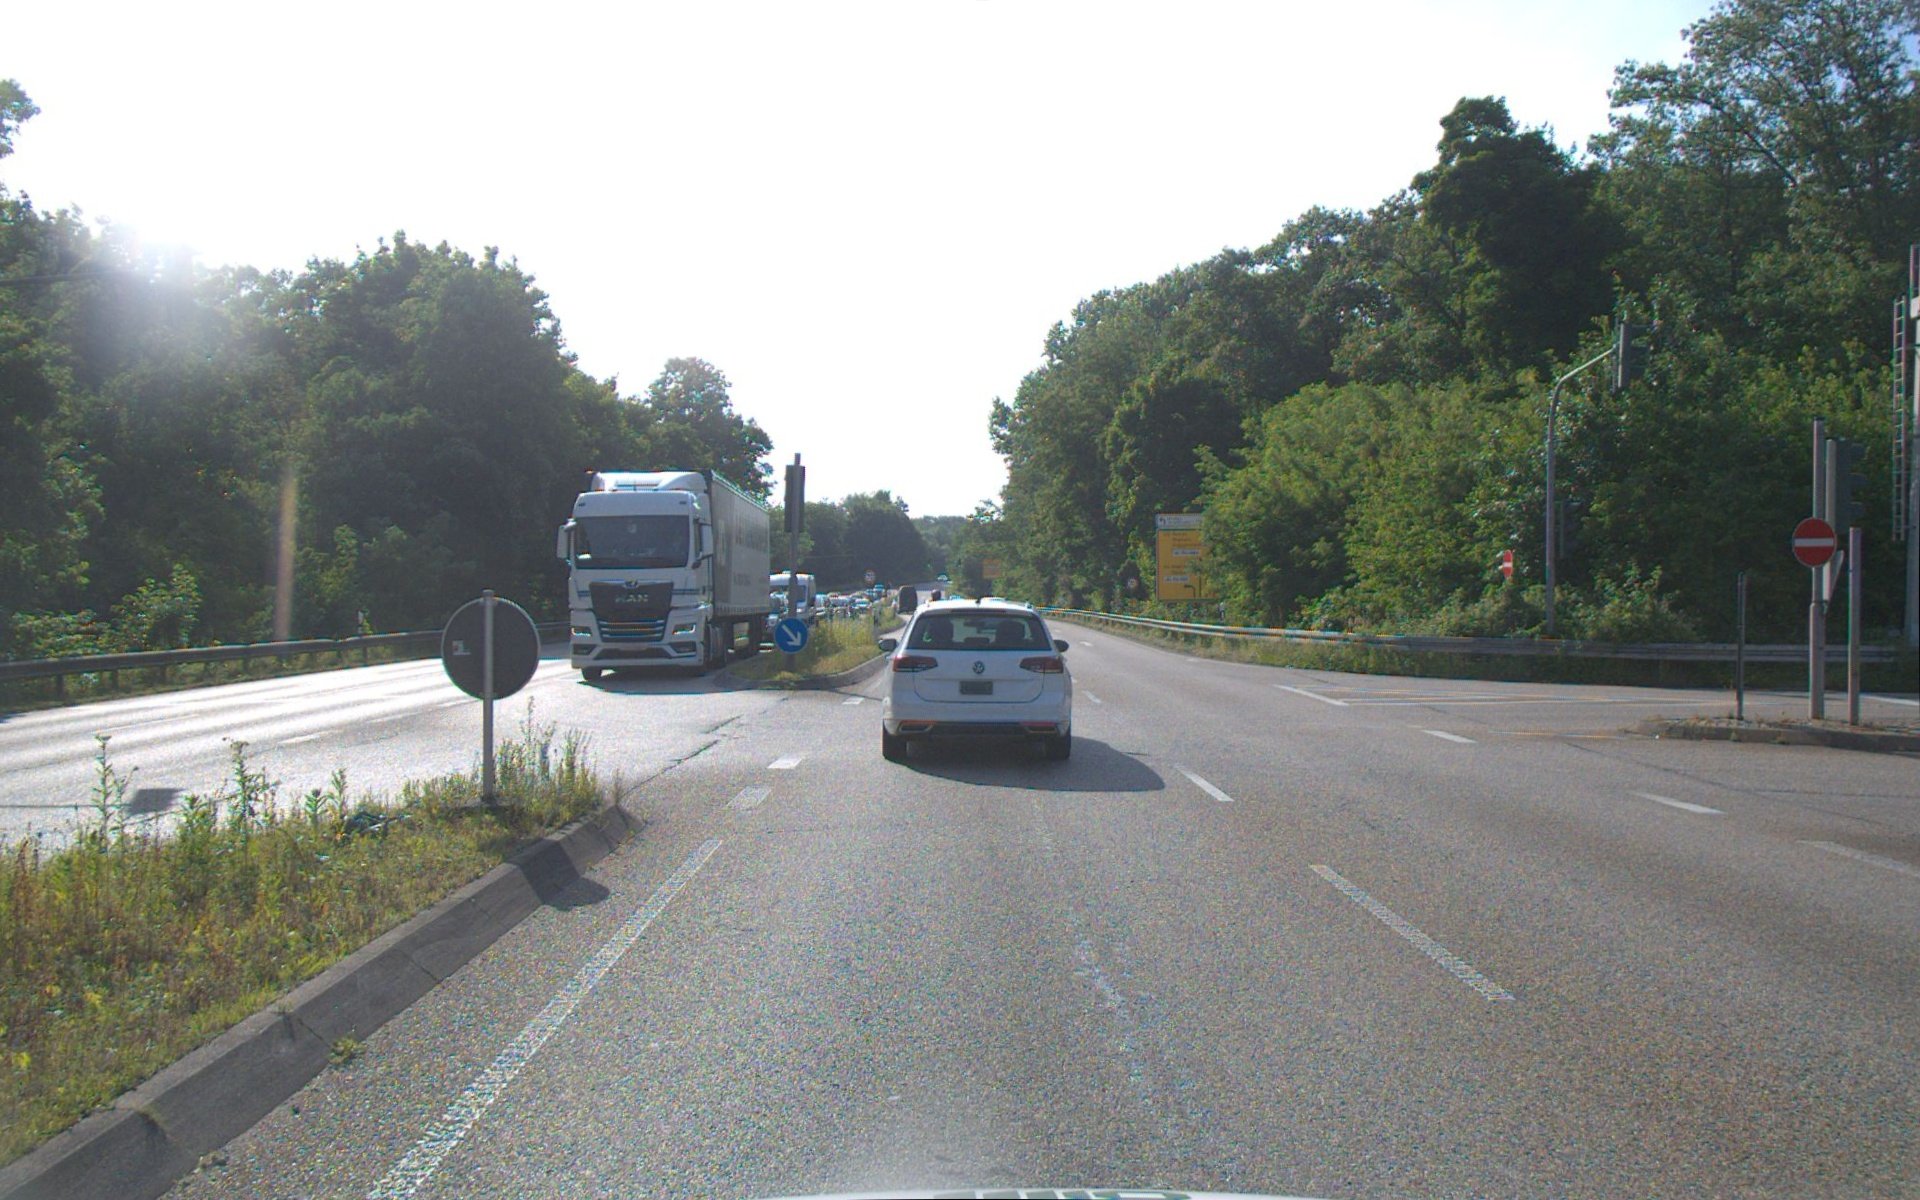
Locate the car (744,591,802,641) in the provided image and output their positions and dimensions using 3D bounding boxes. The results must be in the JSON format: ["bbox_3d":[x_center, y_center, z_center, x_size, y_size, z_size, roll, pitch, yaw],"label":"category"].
[{"bbox_3d":[-6.601,0.529,58.629,1.666,1.660,4.745,-1,0,-2],"label":"car"}]

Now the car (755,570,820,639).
[{"bbox_3d":[-6.878,0.151,66.619,2.033,2.578,6.162,-1,0,-1],"label":"car"}]

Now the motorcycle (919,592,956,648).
[{"bbox_3d":[-0.619,0.556,47.106,0.890,1.478,2.689,-3,1,1],"label":"motorcycle"}]

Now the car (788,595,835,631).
[{"bbox_3d":[-6.647,0.561,74.614,1.724,1.482,5.185,-1,0,-1],"label":"car"}]

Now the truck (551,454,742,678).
[{"bbox_3d":[-6.178,-0.642,33.605,2.833,4.067,6.718,1,0,-3],"label":"truck"}]

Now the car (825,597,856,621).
[{"bbox_3d":[-7.451,0.539,103.695,1.672,1.448,4.210,-1,0,-1],"label":"car"}]

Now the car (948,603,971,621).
[{"bbox_3d":[-0.065,1.100,150.863,1.710,1.564,3.922,1,0,-5],"label":"car"}]

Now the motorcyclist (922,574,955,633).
[{"bbox_3d":[-0.614,0.096,47.008,0.865,1.644,1.290,1,0,1],"label":"motorcyclist"}]

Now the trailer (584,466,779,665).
[{"bbox_3d":[-6.506,-0.760,41.120,2.931,4.066,14.008,1,0,-2],"label":"trailer"}]

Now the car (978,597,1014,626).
[{"bbox_3d":[1.800,0.559,84.623,1.725,1.404,3.971,1,0,0],"label":"car"}]

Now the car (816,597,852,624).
[{"bbox_3d":[-7.350,0.596,96.697,1.735,1.448,5.191,-1,0,-1],"label":"car"}]

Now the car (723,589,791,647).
[{"bbox_3d":[-6.188,0.514,50.795,1.666,1.660,4.369,-1,0,-2],"label":"car"}]

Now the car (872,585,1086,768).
[{"bbox_3d":[0.102,0.650,16.805,1.832,1.548,4.833,1,0,-2],"label":"car"}]

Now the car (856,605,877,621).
[{"bbox_3d":[-8.724,1.213,154.596,1.830,1.442,4.415,-1,0,-1],"label":"car"}]

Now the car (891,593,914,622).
[{"bbox_3d":[-5.927,0.750,170.560,2.165,2.939,7.009,-1,0,-1],"label":"car"}]
